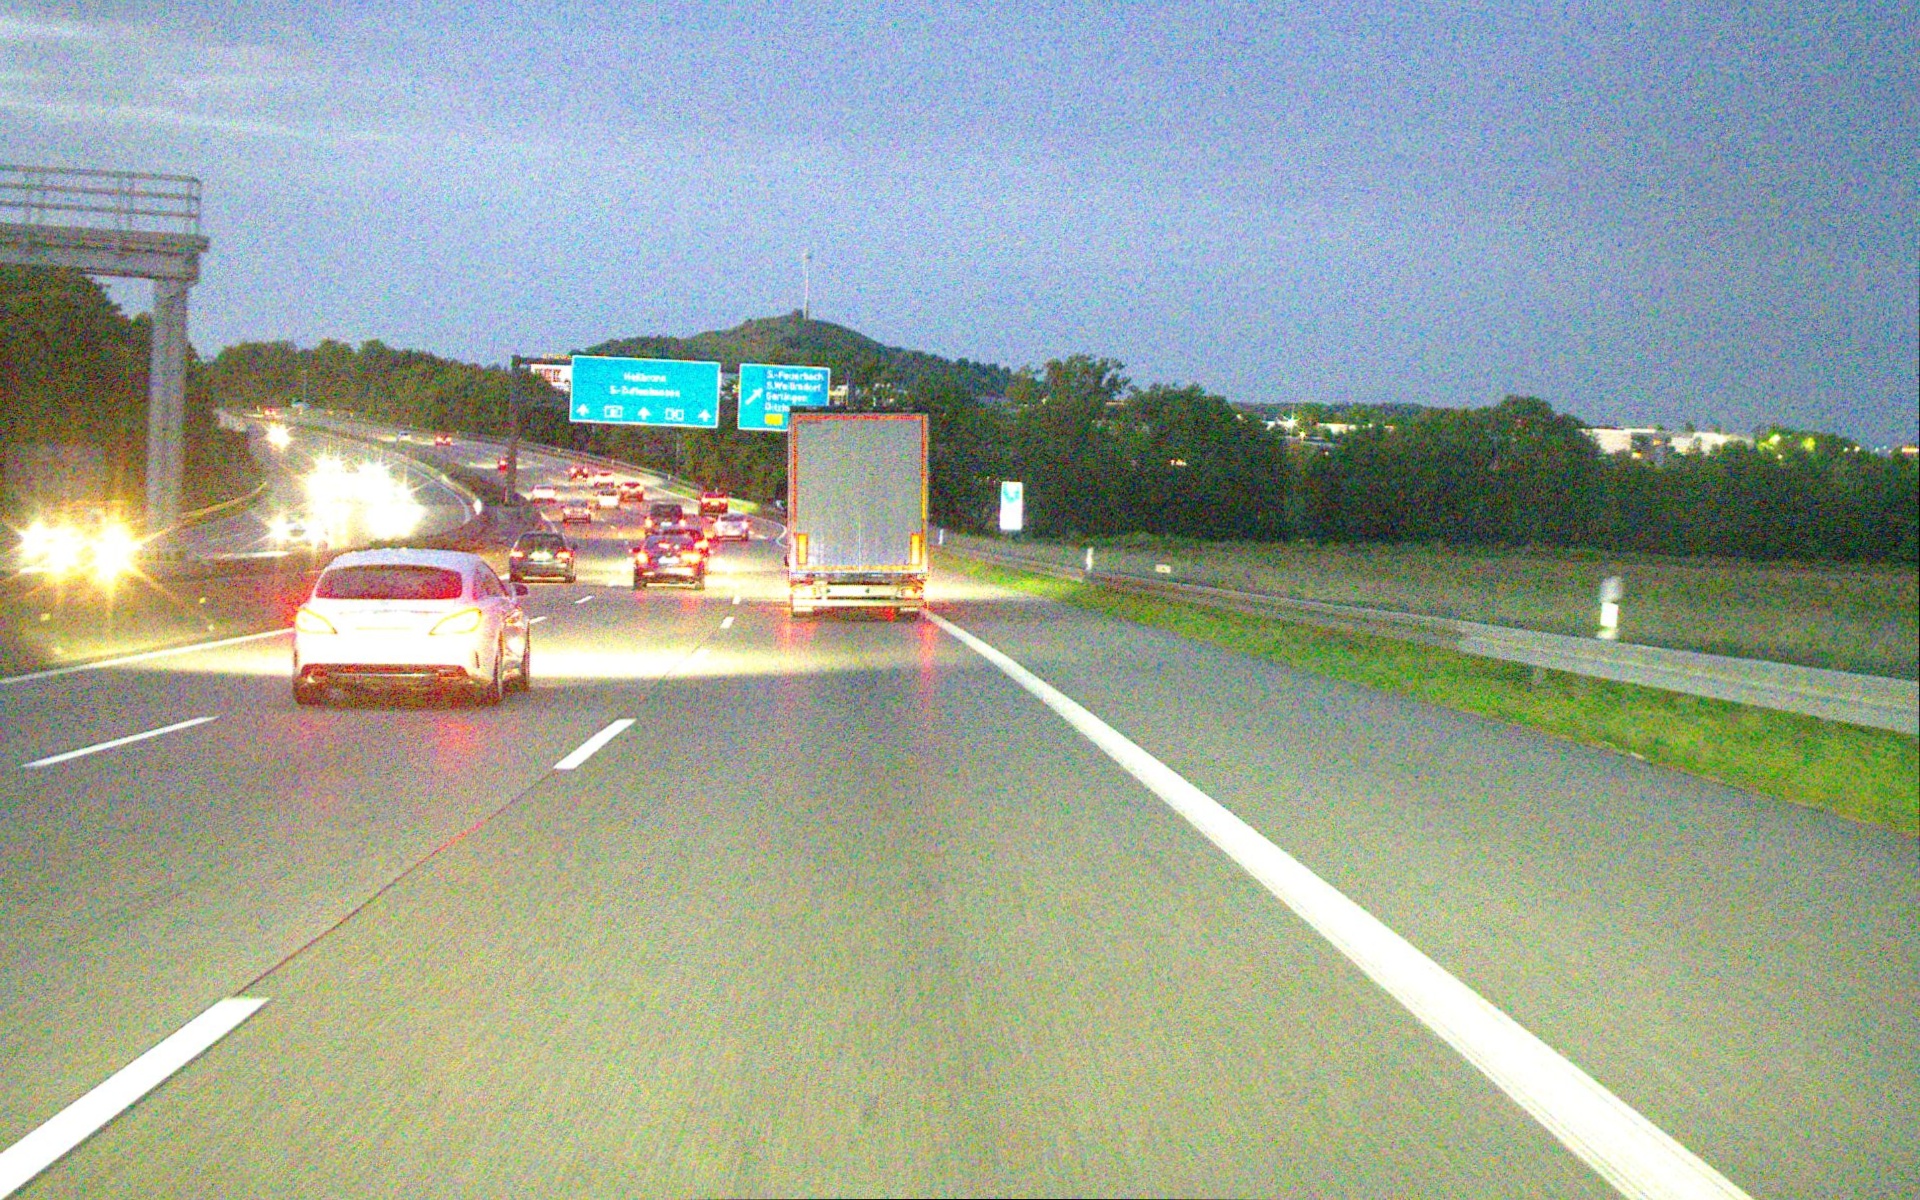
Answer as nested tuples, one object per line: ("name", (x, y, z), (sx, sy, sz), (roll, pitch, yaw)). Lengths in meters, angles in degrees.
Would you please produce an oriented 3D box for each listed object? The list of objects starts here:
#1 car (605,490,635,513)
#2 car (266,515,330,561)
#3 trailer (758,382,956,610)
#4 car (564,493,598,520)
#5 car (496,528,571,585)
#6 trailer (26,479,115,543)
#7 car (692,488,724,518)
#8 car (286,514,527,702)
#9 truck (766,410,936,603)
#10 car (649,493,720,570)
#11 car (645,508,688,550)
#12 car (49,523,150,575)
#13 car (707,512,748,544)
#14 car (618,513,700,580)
("car", (-25.281, -7.292, 255.642), (1.993, 1.616, 4.001), (1, 1, -8))
("car", (-27.872, -2.621, 144.960), (1.912, 1.861, 6.016), (1, 1, -4))
("trailer", (-2.216, -1.965, 70.325), (3.550, 4.102, 15.065), (1, 0, -3))
("car", (-23.891, -5.880, 216.721), (1.993, 1.616, 4.001), (1, 1, -5))
("car", (-12.310, -1.273, 99.390), (1.761, 1.569, 4.577), (1, 1, -2))
("trailer", (-29.312, -2.932, 113.420), (1.913, 1.996, 4.241), (3, 1, -2))
("car", (-17.341, -6.666, 236.582), (1.993, 1.971, 4.001), (1, 1, -7))
("car", (-5.163, 0.032, 32.607), (1.906, 1.609, 4.805), (1, 1, -5))
("truck", (-2.500, -2.026, 76.681), (3.550, 4.077, 6.152), (1, 0, -3))
("car", (-8.850, -2.198, 110.859), (1.993, 2.372, 4.000), (1, 1, -1))
("car", (-14.353, -3.464, 168.102), (1.993, 2.007, 4.001), (1, 1, -6))
("car", (-23.602, -1.393, 94.458), (1.689, 1.349, 4.898), (1, 1, -2))
("car", (-11.850, -3.650, 174.957), (1.993, 1.529, 4.001), (1, 1, -5))
("car", (-7.958, -1.412, 91.240), (2.065, 1.680, 4.577), (1, 1, -4))
